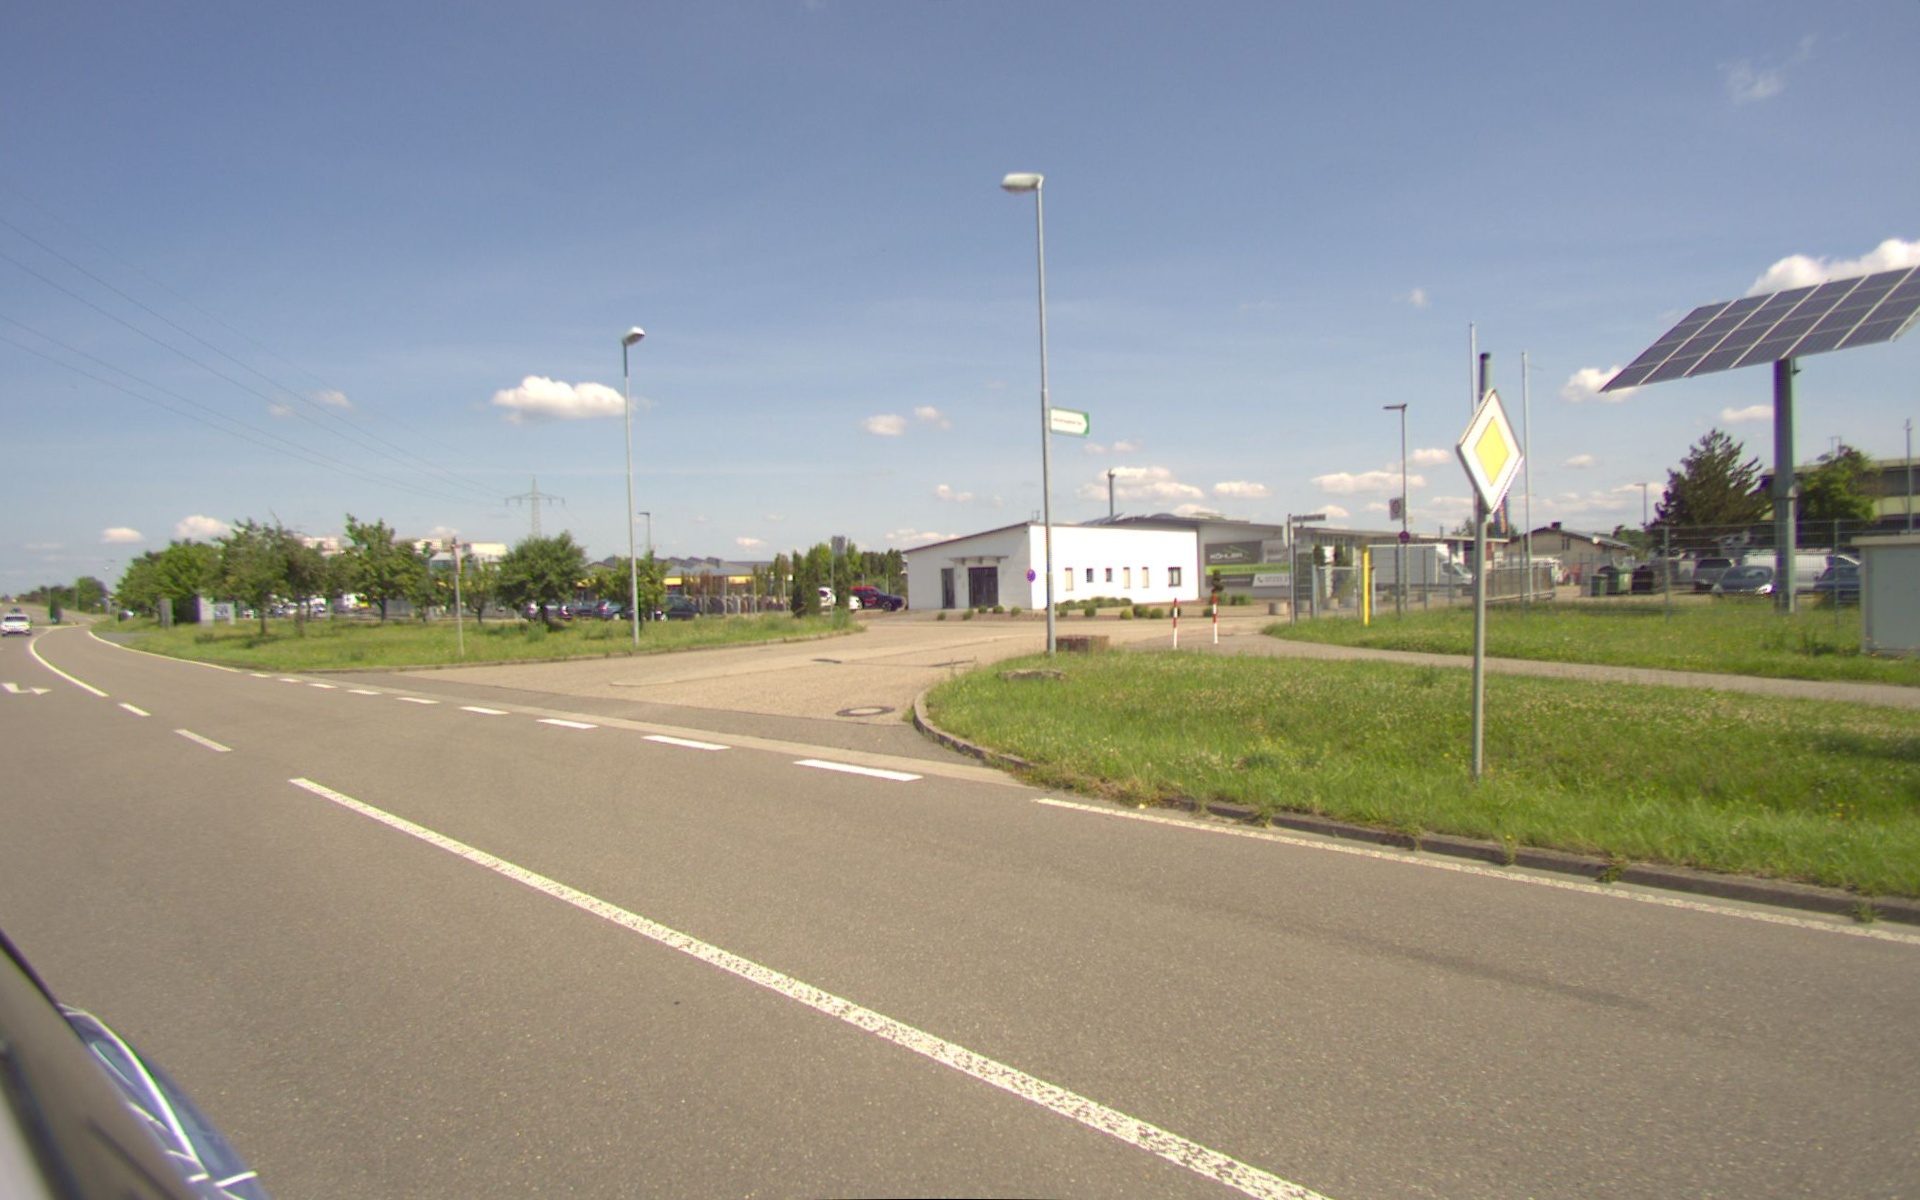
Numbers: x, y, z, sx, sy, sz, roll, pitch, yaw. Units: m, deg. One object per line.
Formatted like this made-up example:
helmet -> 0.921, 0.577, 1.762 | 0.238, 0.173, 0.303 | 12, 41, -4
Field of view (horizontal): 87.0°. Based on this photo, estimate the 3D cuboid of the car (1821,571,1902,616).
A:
car -> 28.660, -0.228, 32.185 | 1.803, 1.253, 3.945 | -2, 1, 42

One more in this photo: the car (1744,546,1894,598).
car -> 36.775, -1.186, 43.516 | 4.734, 2.029, 1.975 | -1, 1, 38

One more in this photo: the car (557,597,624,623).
car -> -25.141, 0.677, 68.935 | 1.665, 1.566, 3.945 | -1, 1, 42

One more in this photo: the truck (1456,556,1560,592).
truck -> 44.733, -2.083, 82.783 | 7.190, 2.684, 2.116 | -1, 1, 43

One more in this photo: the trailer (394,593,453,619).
trailer -> -64.245, 0.701, 121.201 | 2.739, 2.846, 5.505 | -1, 1, 41

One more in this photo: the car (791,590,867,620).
car -> -7.875, 0.301, 60.985 | 4.128, 1.652, 1.992 | -2, 1, 13

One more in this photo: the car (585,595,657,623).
car -> -22.179, 0.563, 66.237 | 2.000, 1.652, 3.945 | -1, 1, 42

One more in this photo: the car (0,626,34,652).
car -> -77.018, 3.186, 82.496 | 1.968, 1.929, 4.007 | -2, 1, -39

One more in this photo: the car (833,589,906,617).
car -> -5.632, 0.171, 63.442 | 4.128, 1.540, 1.992 | -2, 1, 13

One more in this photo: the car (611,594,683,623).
car -> -20.016, 0.544, 64.767 | 1.858, 1.652, 3.945 | -1, 1, 42

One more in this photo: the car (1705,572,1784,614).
car -> 26.606, -0.265, 34.278 | 1.803, 1.253, 3.945 | -2, 1, 42

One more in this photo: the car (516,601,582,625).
car -> -29.940, 0.914, 73.768 | 2.000, 1.539, 3.945 | -1, 1, 42

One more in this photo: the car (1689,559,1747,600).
car -> 37.160, -1.021, 49.582 | 1.999, 1.862, 3.946 | -2, 1, 41

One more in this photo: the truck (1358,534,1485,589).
truck -> 29.975, -2.477, 65.962 | 7.190, 3.237, 1.972 | -1, 1, 43

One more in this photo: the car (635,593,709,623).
car -> -17.971, 0.496, 63.241 | 2.000, 1.652, 3.945 | -1, 1, 42
